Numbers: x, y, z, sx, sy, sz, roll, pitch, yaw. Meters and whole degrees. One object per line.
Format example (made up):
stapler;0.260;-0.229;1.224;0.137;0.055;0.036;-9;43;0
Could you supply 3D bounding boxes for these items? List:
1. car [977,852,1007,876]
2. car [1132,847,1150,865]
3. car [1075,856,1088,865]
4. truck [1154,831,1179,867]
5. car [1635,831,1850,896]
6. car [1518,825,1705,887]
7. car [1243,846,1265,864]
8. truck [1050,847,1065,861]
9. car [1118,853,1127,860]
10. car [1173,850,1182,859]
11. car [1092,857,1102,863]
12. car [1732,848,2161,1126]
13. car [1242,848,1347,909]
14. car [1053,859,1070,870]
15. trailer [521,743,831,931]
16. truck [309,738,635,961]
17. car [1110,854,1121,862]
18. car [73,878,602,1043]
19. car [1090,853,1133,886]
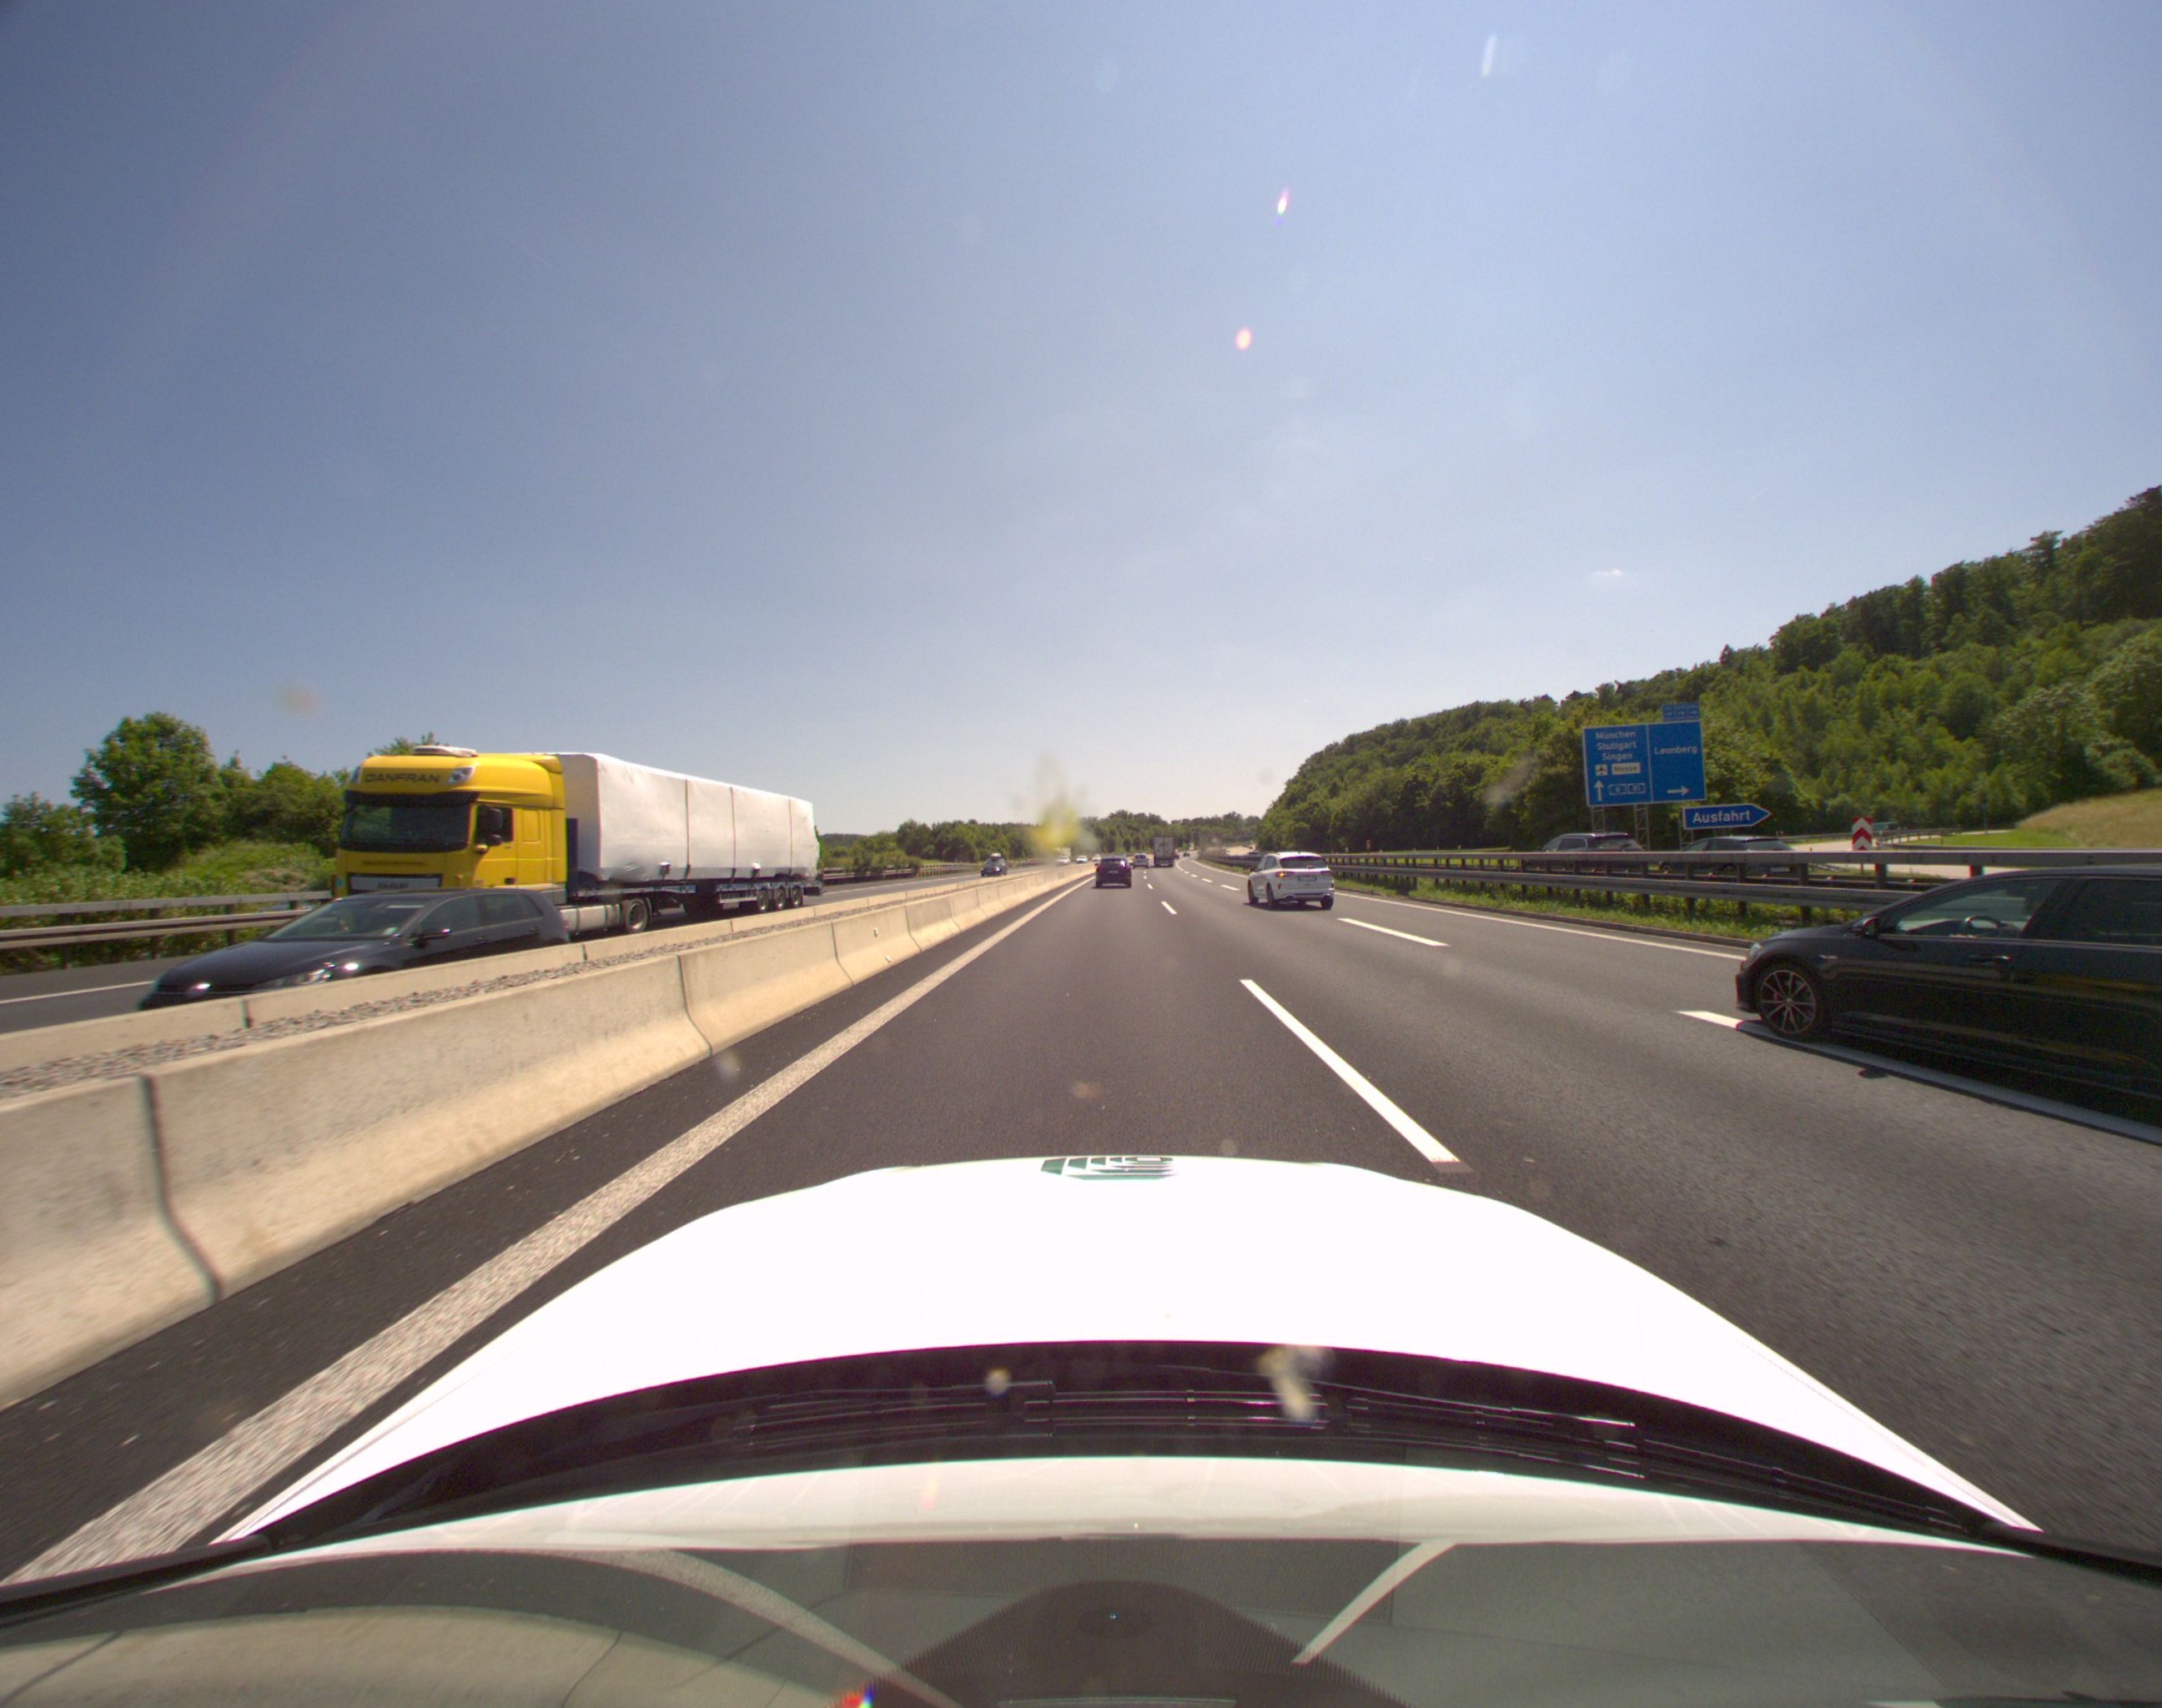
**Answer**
car;-8.041;0.856;74.168;1.985;2.081;4.707;-2;0;3
car;7.122;0.234;96.609;1.985;2.013;4.004;-4;0;4
car;0.170;1.197;152.358;1.984;1.543;5.048;-1;-1;5
truck;11.390;-0.598;107.801;3.016;4.418;12.039;-1;-1;6
car;19.114;0.284;23.955;1.988;1.662;5.224;-1;-1;-2
car;15.878;0.081;24.862;1.987;1.662;5.624;-1;-1;-1
car;21.121;0.098;99.789;1.985;2.013;4.004;-3;0;3
truck;-6.268;-0.066;215.645;3.066;3.503;5.421;-1;-1;8
car;11.395;0.796;224.138;1.983;1.824;4.914;-1;-1;6
car;22.353;0.238;189.018;1.983;2.014;4.007;-1;-1;6
car;3.420;1.255;177.217;1.841;1.394;4.007;0;0;6
car;6.514;0.689;5.042;1.788;1.435;3.965;-1;-1;0
car;6.407;0.694;24.952;1.987;1.662;4.466;-1;-1;-1
car;-2.899;1.573;122.947;1.858;1.666;4.673;-1;-1;7
trailer;-11.398;-0.330;25.333;2.707;4.312;12.830;-1;-1;2
truck;-11.763;-0.053;16.356;2.739;3.754;4.867;-1;-1;2
car;7.478;0.963;174.993;1.984;1.659;4.641;-1;-1;6
car;-7.913;1.024;9.396;1.984;1.350;4.264;-1;-1;5
car;1.522;0.803;41.922;1.776;1.577;3.994;-1;-1;-4
